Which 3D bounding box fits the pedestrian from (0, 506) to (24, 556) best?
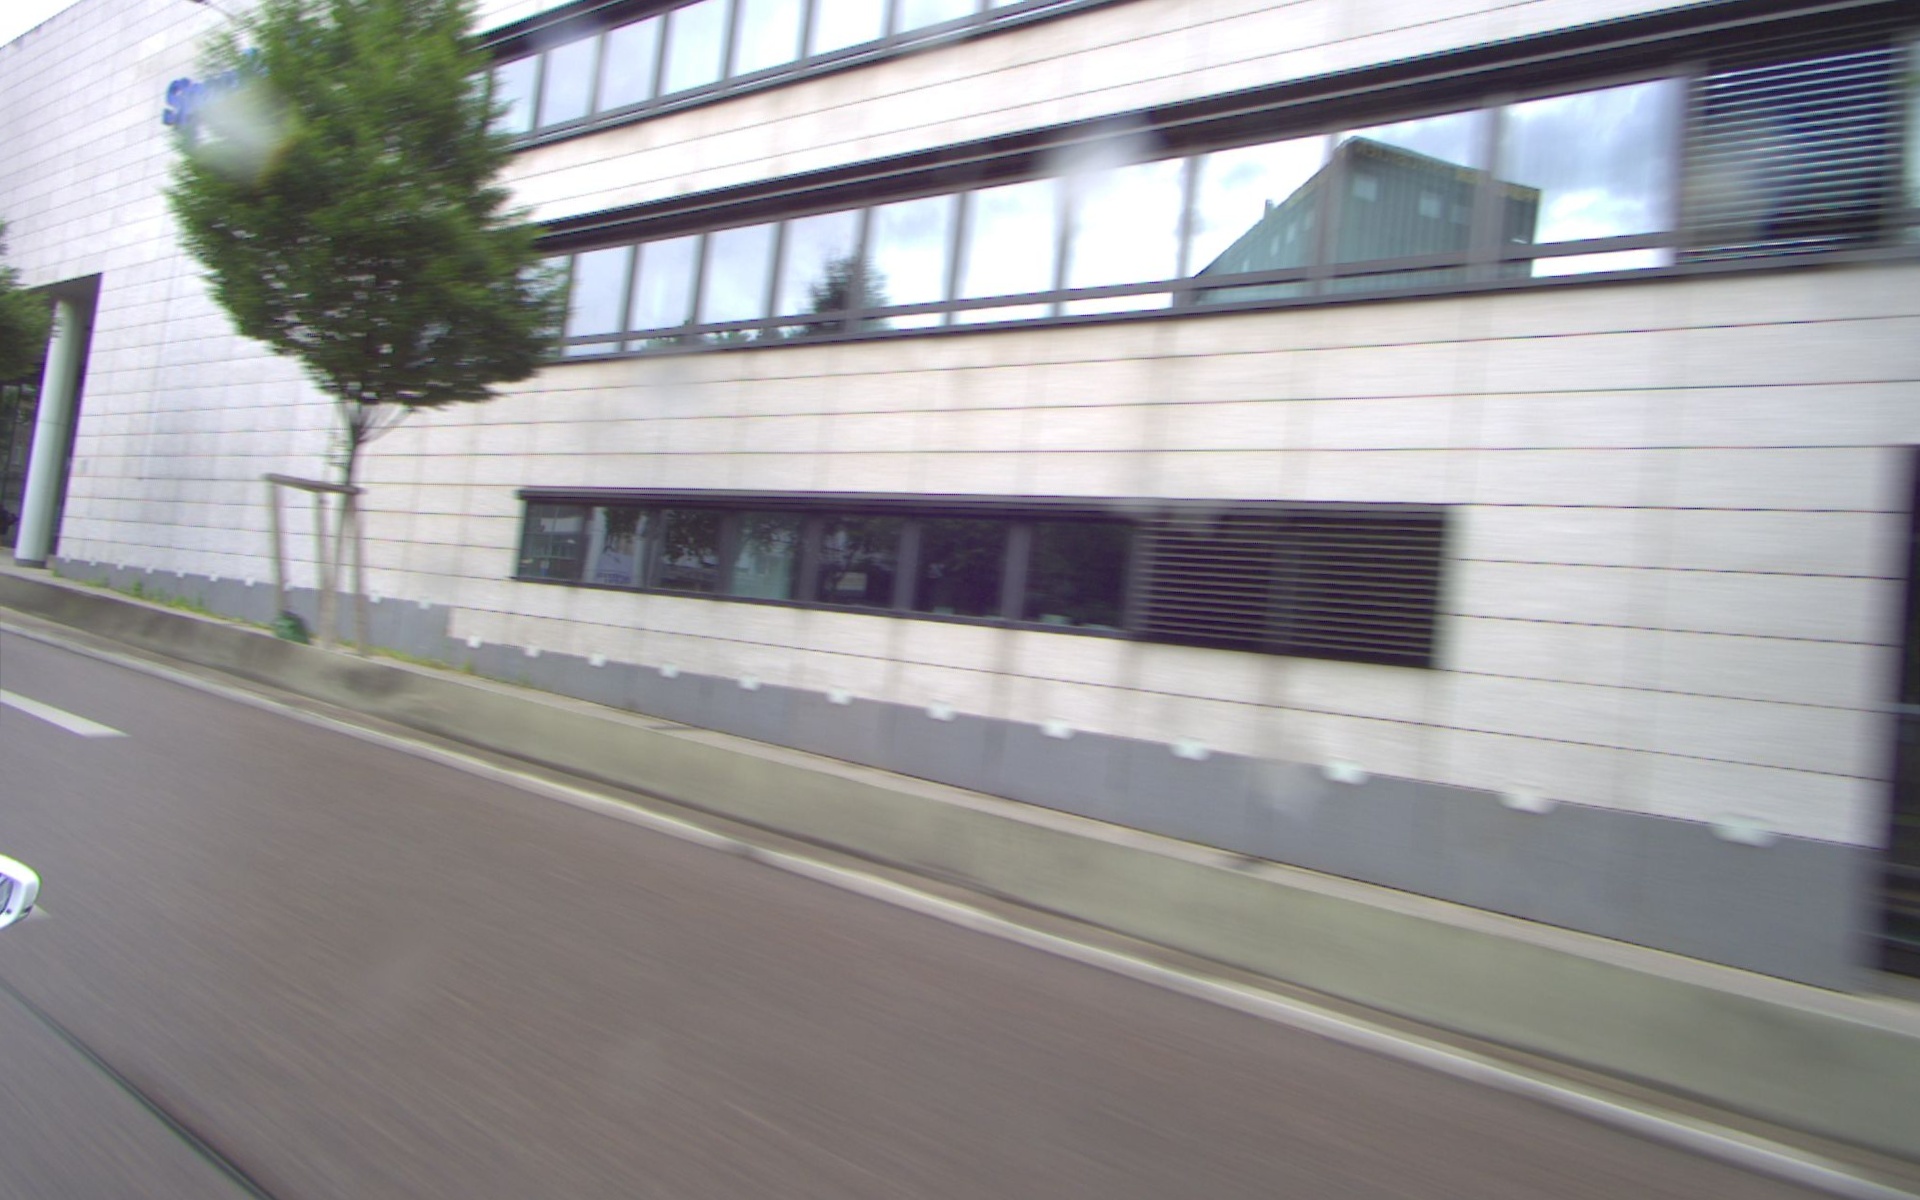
[{"bbox_3d":[-32.064,-2.345,33.475,0.827,1.605,0.973,7,-1,26],"label":"pedestrian"}]
